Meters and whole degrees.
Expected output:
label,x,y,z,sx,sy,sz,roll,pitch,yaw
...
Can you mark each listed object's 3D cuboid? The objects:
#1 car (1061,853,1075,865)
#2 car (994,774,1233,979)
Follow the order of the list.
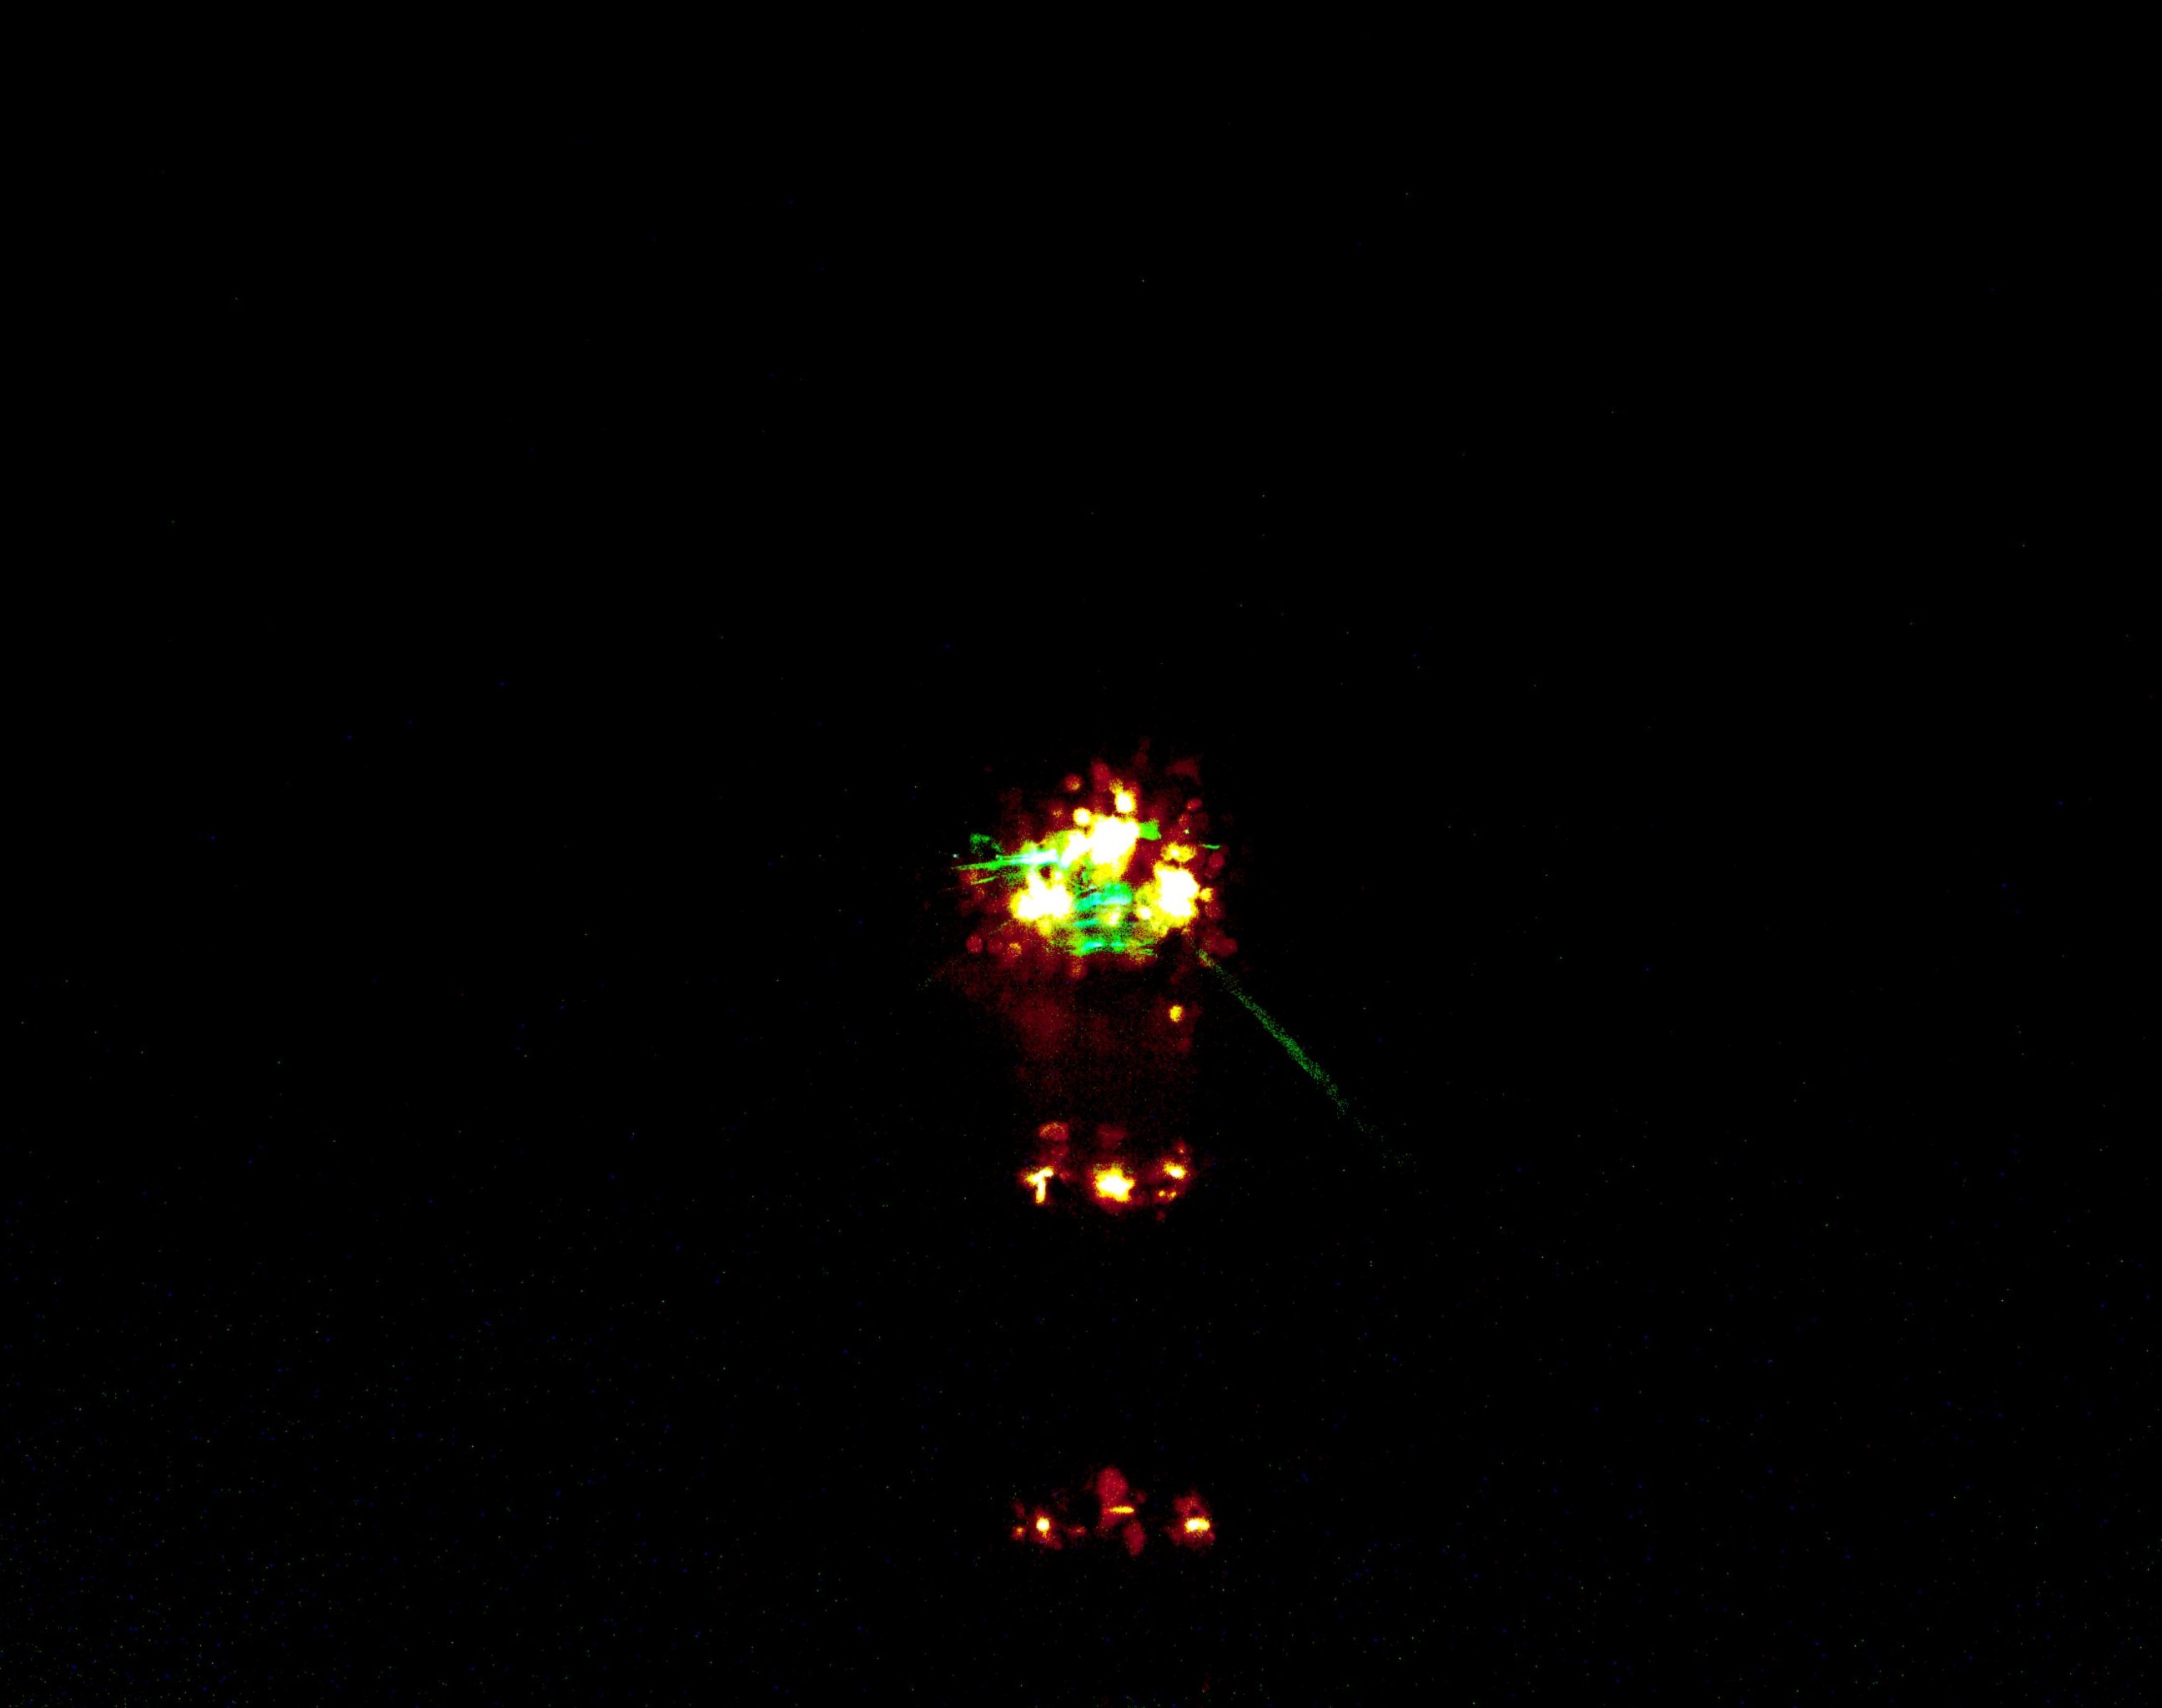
label,x,y,z,sx,sy,sz,roll,pitch,yaw
car,-1.643,0.615,105.687,1.537,1.510,3.884,0,0,4
car,0.454,0.242,12.362,2.705,2.307,6.102,-1,0,1
